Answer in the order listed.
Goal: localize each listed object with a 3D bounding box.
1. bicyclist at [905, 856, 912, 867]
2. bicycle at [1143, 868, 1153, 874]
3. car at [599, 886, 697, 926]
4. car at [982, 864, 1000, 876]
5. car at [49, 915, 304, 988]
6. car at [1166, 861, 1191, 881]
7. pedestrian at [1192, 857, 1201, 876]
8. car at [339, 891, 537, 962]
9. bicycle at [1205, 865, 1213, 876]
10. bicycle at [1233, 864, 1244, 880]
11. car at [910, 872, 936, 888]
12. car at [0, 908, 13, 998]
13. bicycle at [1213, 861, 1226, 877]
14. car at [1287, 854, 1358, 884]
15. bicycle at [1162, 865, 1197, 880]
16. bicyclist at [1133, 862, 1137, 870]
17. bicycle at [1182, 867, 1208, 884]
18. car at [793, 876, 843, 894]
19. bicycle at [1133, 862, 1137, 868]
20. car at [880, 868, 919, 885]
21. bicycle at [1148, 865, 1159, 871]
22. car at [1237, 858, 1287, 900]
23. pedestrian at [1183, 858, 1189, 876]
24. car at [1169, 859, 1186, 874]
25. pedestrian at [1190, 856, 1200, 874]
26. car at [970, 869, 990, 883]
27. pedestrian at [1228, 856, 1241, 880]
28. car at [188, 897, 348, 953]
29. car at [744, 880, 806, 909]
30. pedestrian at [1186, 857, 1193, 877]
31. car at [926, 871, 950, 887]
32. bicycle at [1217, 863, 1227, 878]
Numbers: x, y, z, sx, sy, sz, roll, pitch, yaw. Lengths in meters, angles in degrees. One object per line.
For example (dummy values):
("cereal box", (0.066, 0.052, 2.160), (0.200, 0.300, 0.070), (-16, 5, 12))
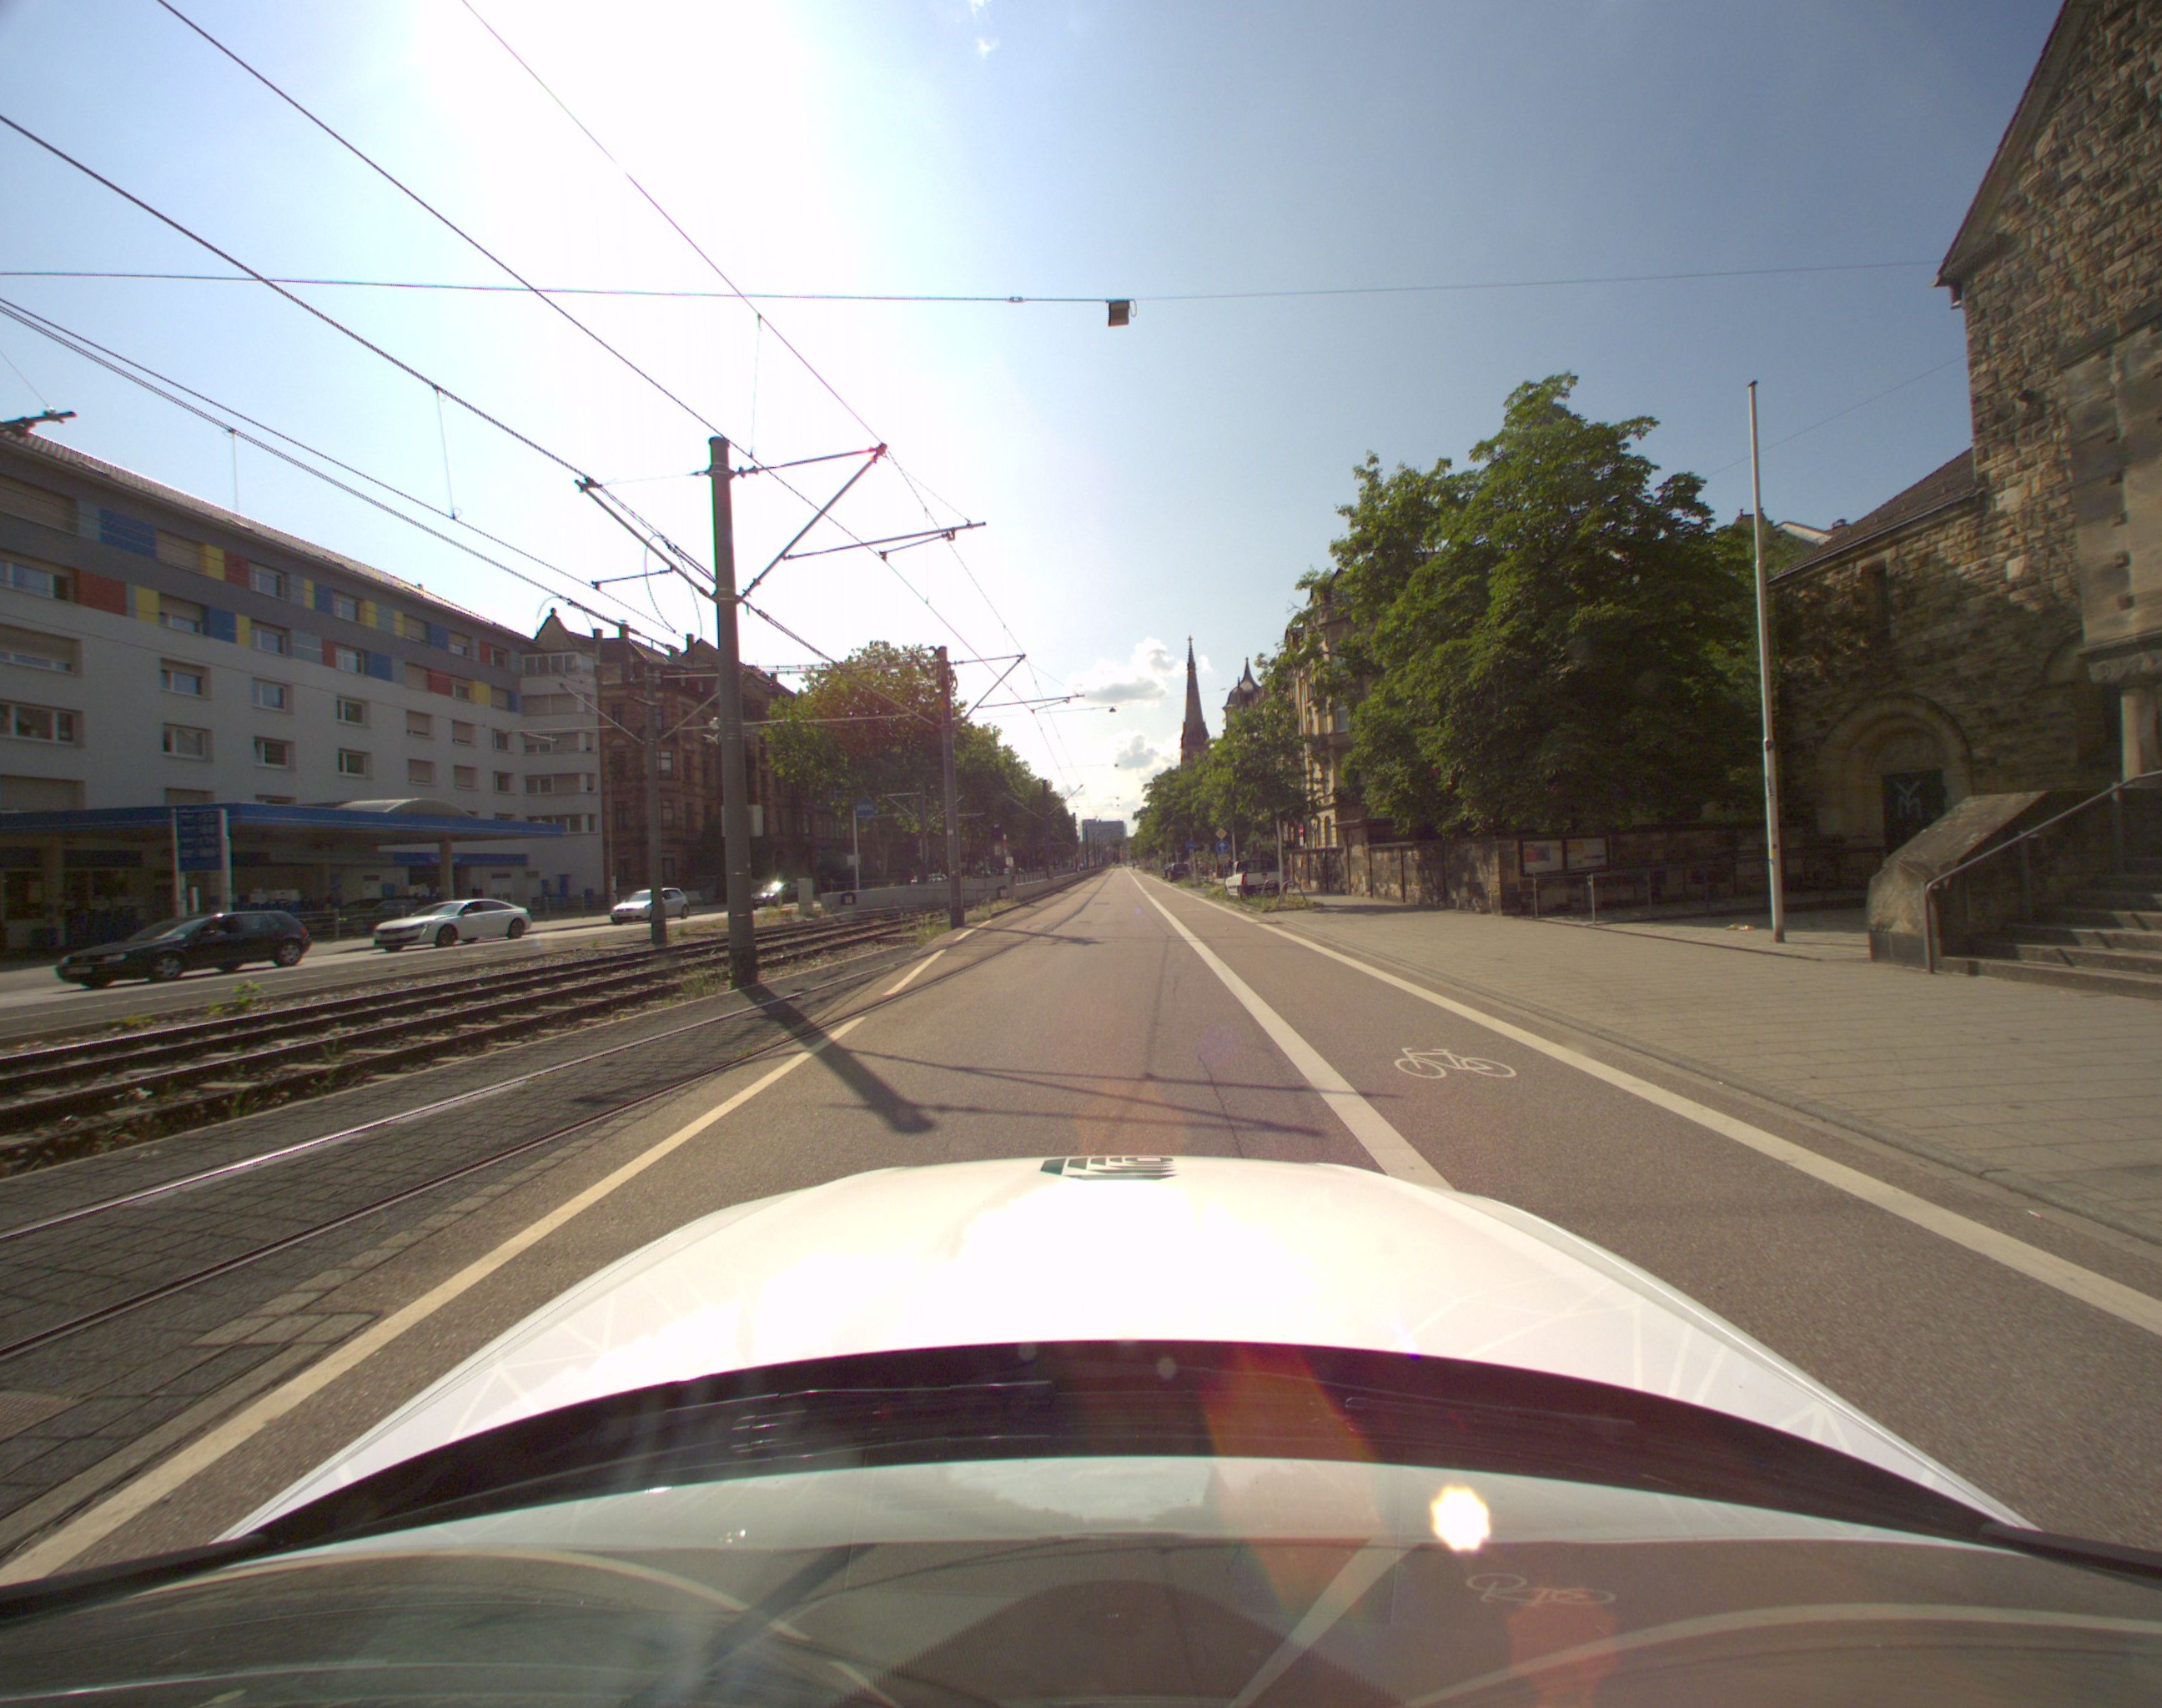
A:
("bicyclist", (-23.735, 1.083, 112.171), (0.685, 1.455, 1.045), (-3, -1, 3))
("bicycle", (12.383, 3.129, 151.076), (1.811, 0.902, 0.603), (-5, -1, -1))
("car", (-19.267, 2.288, 36.476), (1.714, 1.416, 4.410), (-4, 0, 4))
("car", (-14.066, 2.520, 127.490), (1.984, 1.636, 4.005), (-5, -1, 5))
("car", (-20.429, 2.147, 18.639), (1.609, 1.189, 3.637), (-3, 0, 4))
("car", (7.899, 1.363, 66.164), (1.679, 1.502, 4.712), (-3, -1, 3))
("pedestrian", (11.118, 1.186, 78.569), (0.667, 1.804, 0.319), (-5, -1, 1))
("car", (-19.968, 2.167, 25.674), (1.939, 1.606, 5.080), (-3, 1, 2))
("bicycle", (11.708, 1.529, 74.411), (0.425, 0.940, 1.809), (-5, -1, 3))
("bicycle", (10.884, 1.237, 56.451), (0.468, 1.108, 1.712), (-3, -1, 3))
("car", (-15.568, 2.581, 80.585), (1.490, 1.303, 3.496), (-5, -1, 5))
("car", (-20.526, 1.878, 12.843), (1.705, 1.606, 4.147), (-3, 1, 2))
("bicycle", (11.420, 1.262, 67.284), (0.655, 1.248, 2.945), (-5, -1, 3))
("car", (14.126, 0.884, 47.803), (3.723, 1.556, 1.760), (-3, -1, 6))
("bicycle", (8.763, 1.646, 72.636), (2.947, 1.246, 0.790), (-2, -1, -11))
("bicyclist", (11.366, 2.482, 172.506), (0.767, 1.730, 1.027), (-2, -1, 3))
("bicycle", (8.012, 1.497, 57.058), (1.702, 1.069, 0.471), (-3, -1, -4))
("car", (-24.617, 2.863, 76.313), (3.968, 1.483, 2.003), (-3, -1, 4))
("bicycle", (11.363, 2.413, 172.390), (0.795, 1.237, 2.780), (-2, -1, 3))
("car", (-23.018, 2.878, 103.416), (4.386, 1.918, 2.000), (-2, -1, 1))
("bicycle", (12.020, 2.339, 134.877), (1.811, 0.902, 0.651), (-5, -1, -1))
("car", (6.587, 0.871, 29.922), (1.658, 1.416, 3.856), (-1, 0, 11))
("pedestrian", (9.996, 1.251, 77.767), (0.315, 1.706, 0.462), (-5, -1, 17))
("car", (10.037, 1.278, 84.392), (1.659, 1.416, 3.593), (-3, 0, 8))
("pedestrian", (10.726, 1.024, 76.676), (0.529, 1.676, 0.571), (-5, -1, -16))
("car", (-14.035, 2.990, 113.182), (1.708, 1.691, 3.739), (-5, 0, 9))
("pedestrian", (10.689, 0.948, 56.555), (0.720, 1.629, 0.725), (-3, -1, 3))
("car", (-30.151, 2.591, 30.395), (1.894, 1.606, 3.877), (-3, 1, 2))
("car", (-17.550, 2.304, 46.929), (1.659, 1.416, 3.791), (-3, 0, 8))
("pedestrian", (10.460, 1.256, 78.510), (0.457, 1.804, 0.319), (-5, -1, 1))
("car", (-15.259, 2.622, 87.029), (1.636, 1.482, 4.004), (-5, -1, 2))
("bicycle", (11.179, 1.311, 64.432), (0.425, 1.140, 2.025), (-5, -1, 3))
